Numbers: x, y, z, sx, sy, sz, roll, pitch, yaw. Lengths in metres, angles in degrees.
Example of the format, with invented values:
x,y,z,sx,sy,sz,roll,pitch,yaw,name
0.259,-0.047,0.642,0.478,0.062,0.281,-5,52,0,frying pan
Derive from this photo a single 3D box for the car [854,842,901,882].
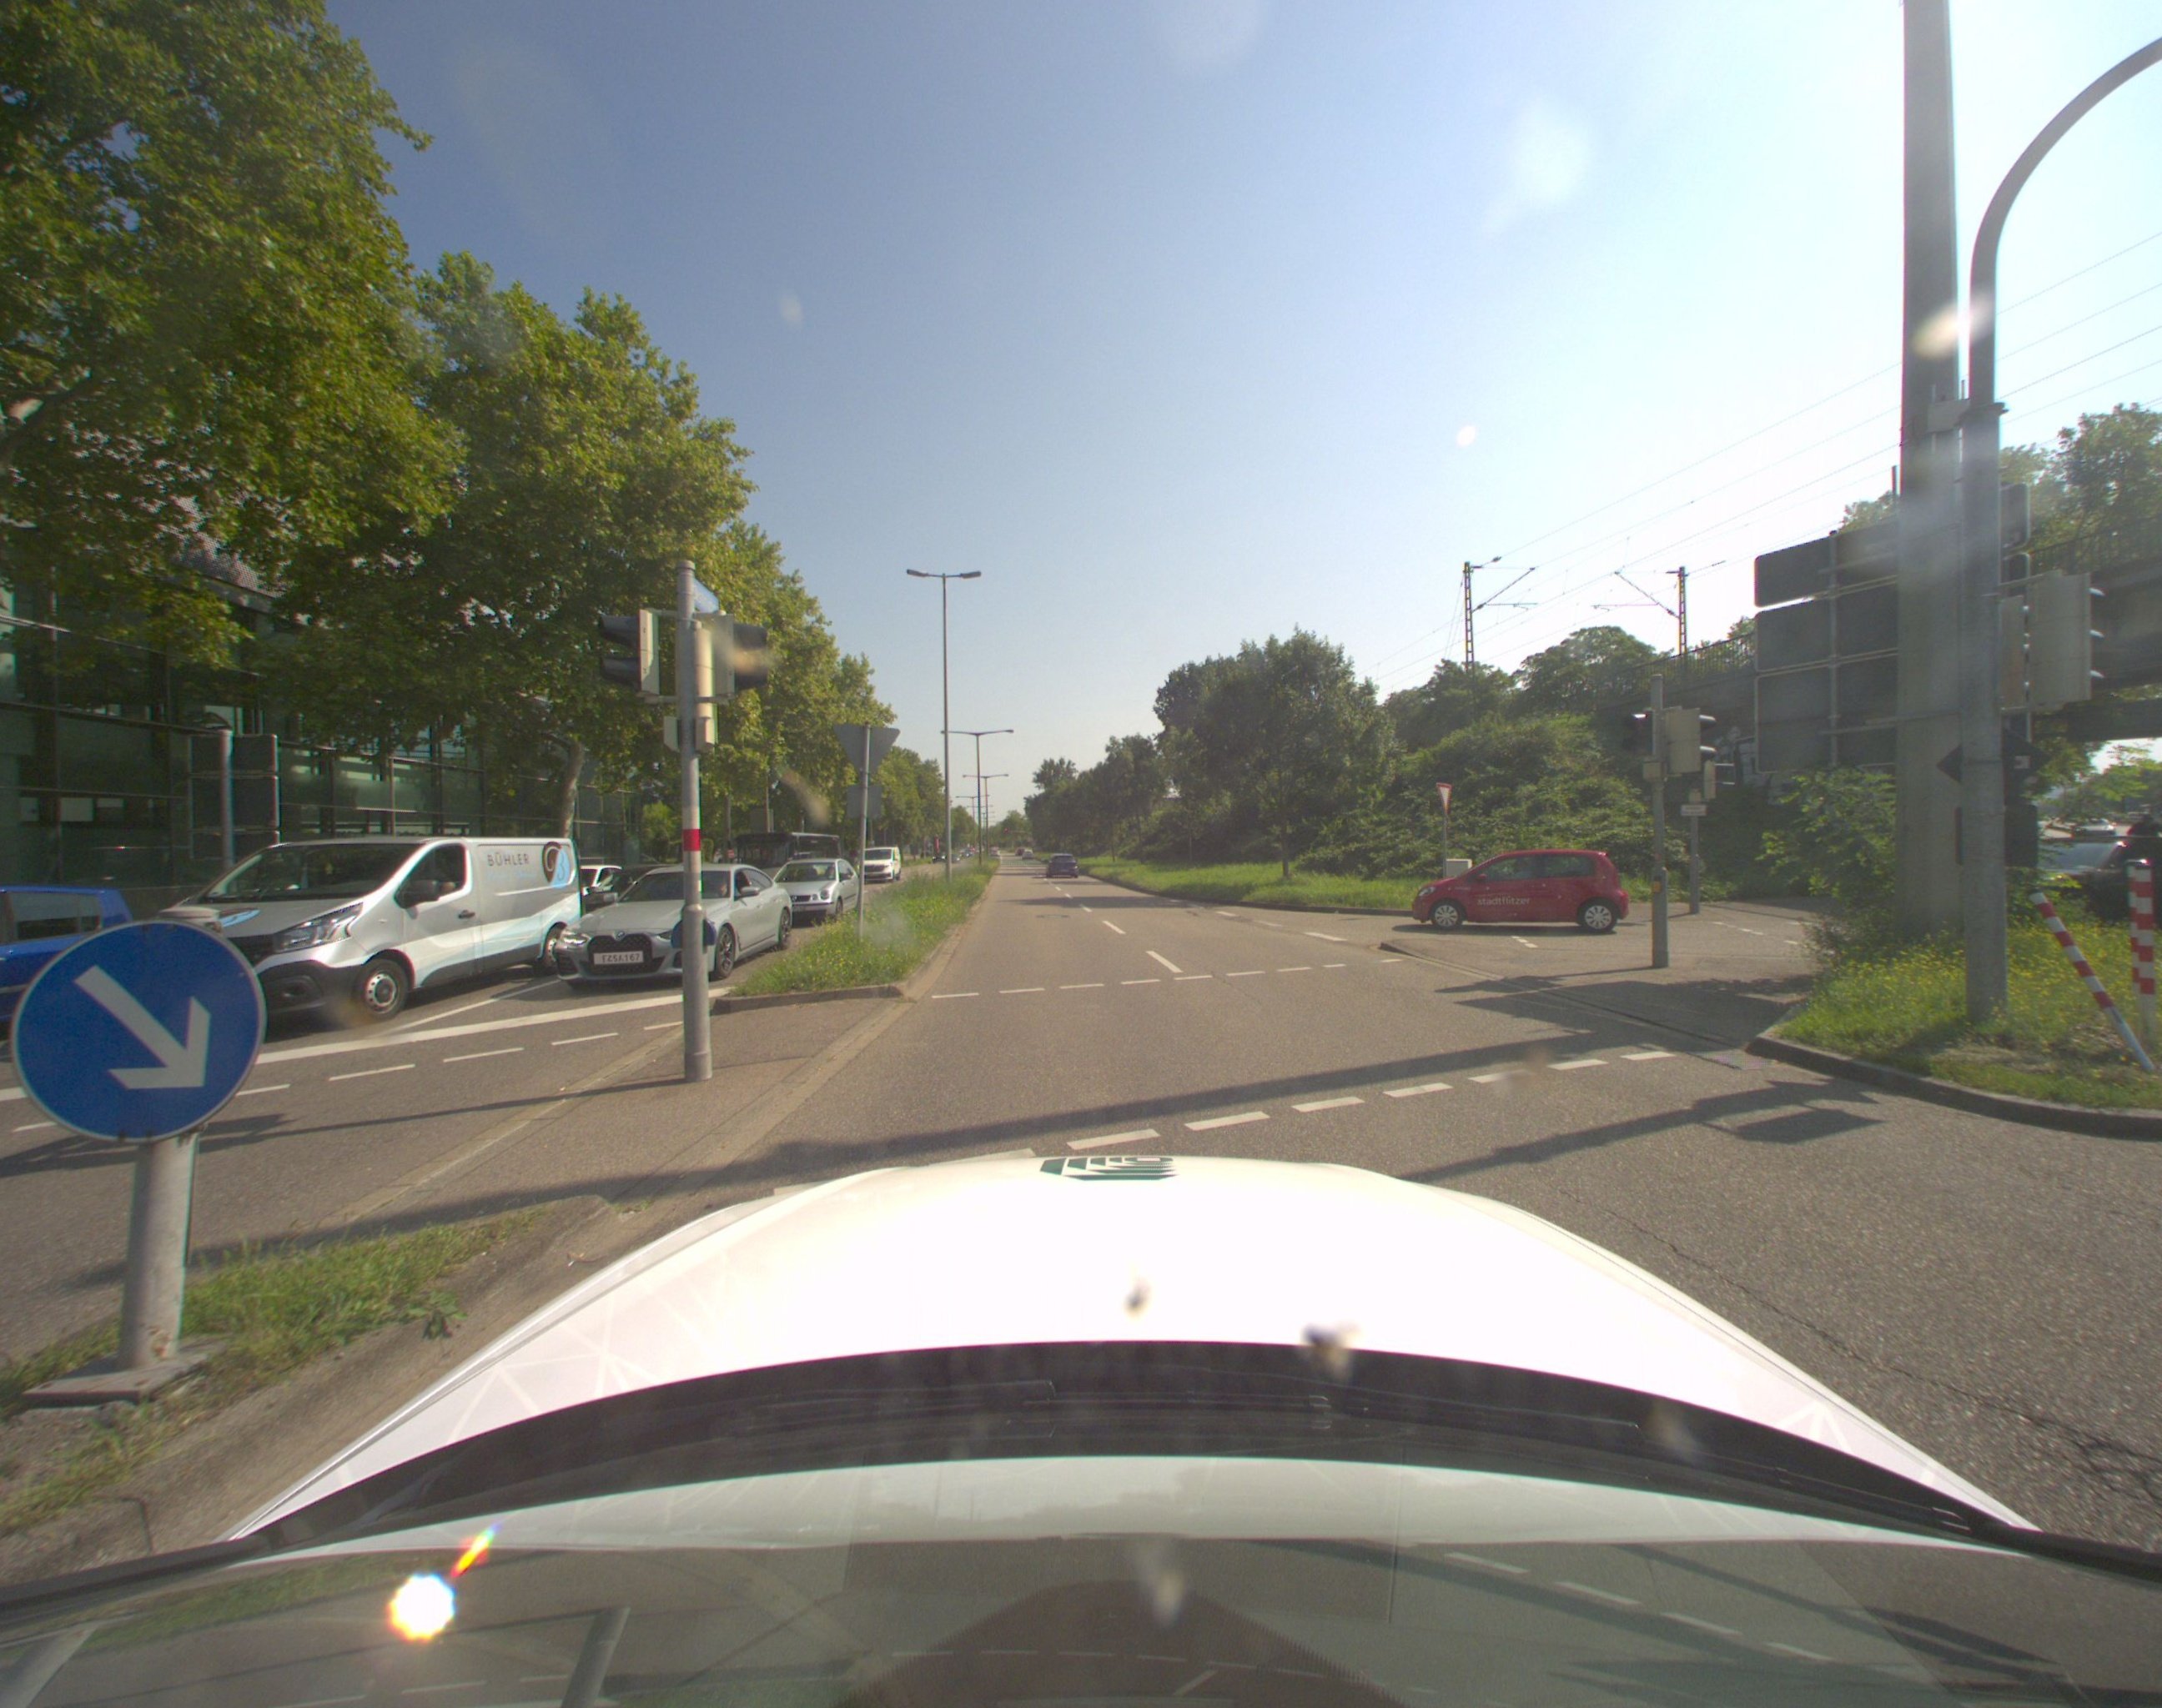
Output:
x,y,z,sx,sy,sz,roll,pitch,yaw,name
-11.214,0.365,45.226,1.926,1.960,5.175,-3,1,-8,car

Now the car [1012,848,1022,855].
x,y,z,sx,sy,sz,roll,pitch,yaw,name
-14.931,-0.617,190.229,1.991,1.654,3.991,1,-1,-7,car

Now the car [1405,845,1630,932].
x,y,z,sx,sy,sz,roll,pitch,yaw,name
8.016,0.583,15.200,3.509,1.467,1.653,0,0,26,car

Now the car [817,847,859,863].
x,y,z,sx,sy,sz,roll,pitch,yaw,name
-36.265,0.137,121.729,5.580,2.336,2.273,0,2,-8,car

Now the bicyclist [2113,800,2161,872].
x,y,z,sx,sy,sz,roll,pitch,yaw,name
24.766,-0.422,18.957,0.703,1.658,0.976,-1,1,38,bicyclist

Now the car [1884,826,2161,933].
x,y,z,sx,sy,sz,roll,pitch,yaw,name
16.033,0.338,12.986,4.866,1.463,1.995,-2,-1,-7,car

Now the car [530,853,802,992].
x,y,z,sx,sy,sz,roll,pitch,yaw,name
-5.459,0.764,11.499,1.833,1.443,4.596,-3,0,-6,car

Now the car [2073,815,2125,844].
x,y,z,sx,sy,sz,roll,pitch,yaw,name
74.856,-1.841,59.944,4.023,2.013,1.976,-2,3,-43,car

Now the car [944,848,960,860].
x,y,z,sx,sy,sz,roll,pitch,yaw,name
-17.888,-0.008,113.210,1.843,1.489,4.635,-3,0,-5,car

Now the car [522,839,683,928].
x,y,z,sx,sy,sz,roll,pitch,yaw,name
-11.760,0.654,20.360,1.925,1.895,3.966,-3,0,-7,car

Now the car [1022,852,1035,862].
x,y,z,sx,sy,sz,roll,pitch,yaw,name
-8.932,0.509,138.183,1.991,1.654,3.992,-2,0,-6,car

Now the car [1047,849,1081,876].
x,y,z,sx,sy,sz,roll,pitch,yaw,name
-1.055,0.477,48.806,1.778,1.427,3.993,0,3,-6,car

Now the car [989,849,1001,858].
x,y,z,sx,sy,sz,roll,pitch,yaw,name
-17.686,-0.056,168.067,1.988,1.702,3.998,-2,0,-1,car

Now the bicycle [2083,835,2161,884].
x,y,z,sx,sy,sz,roll,pitch,yaw,name
24.968,0.107,19.099,1.219,1.049,2.997,-1,1,38,bicycle

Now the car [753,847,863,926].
x,y,z,sx,sy,sz,roll,pitch,yaw,name
-6.174,0.659,18.864,1.613,1.535,4.089,-3,1,-8,car

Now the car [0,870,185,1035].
x,y,z,sx,sy,sz,roll,pitch,yaw,name
-10.994,0.979,7.397,1.665,1.535,3.724,-3,0,-4,car

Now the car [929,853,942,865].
x,y,z,sx,sy,sz,roll,pitch,yaw,name
-22.424,0.808,125.379,1.846,1.605,4.593,-1,-2,-10,car

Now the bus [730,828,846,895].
x,y,z,sx,sy,sz,roll,pitch,yaw,name
-14.016,0.335,40.090,2.658,2.694,10.883,-3,0,-6,bus

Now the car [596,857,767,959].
x,y,z,sx,sy,sz,roll,pitch,yaw,name
-8.617,1.049,18.095,1.715,1.848,4.695,-3,0,-5,car

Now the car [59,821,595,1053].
x,y,z,sx,sy,sz,roll,pitch,yaw,name
-8.105,0.664,9.724,1.925,1.957,5.201,-2,1,-7,car
